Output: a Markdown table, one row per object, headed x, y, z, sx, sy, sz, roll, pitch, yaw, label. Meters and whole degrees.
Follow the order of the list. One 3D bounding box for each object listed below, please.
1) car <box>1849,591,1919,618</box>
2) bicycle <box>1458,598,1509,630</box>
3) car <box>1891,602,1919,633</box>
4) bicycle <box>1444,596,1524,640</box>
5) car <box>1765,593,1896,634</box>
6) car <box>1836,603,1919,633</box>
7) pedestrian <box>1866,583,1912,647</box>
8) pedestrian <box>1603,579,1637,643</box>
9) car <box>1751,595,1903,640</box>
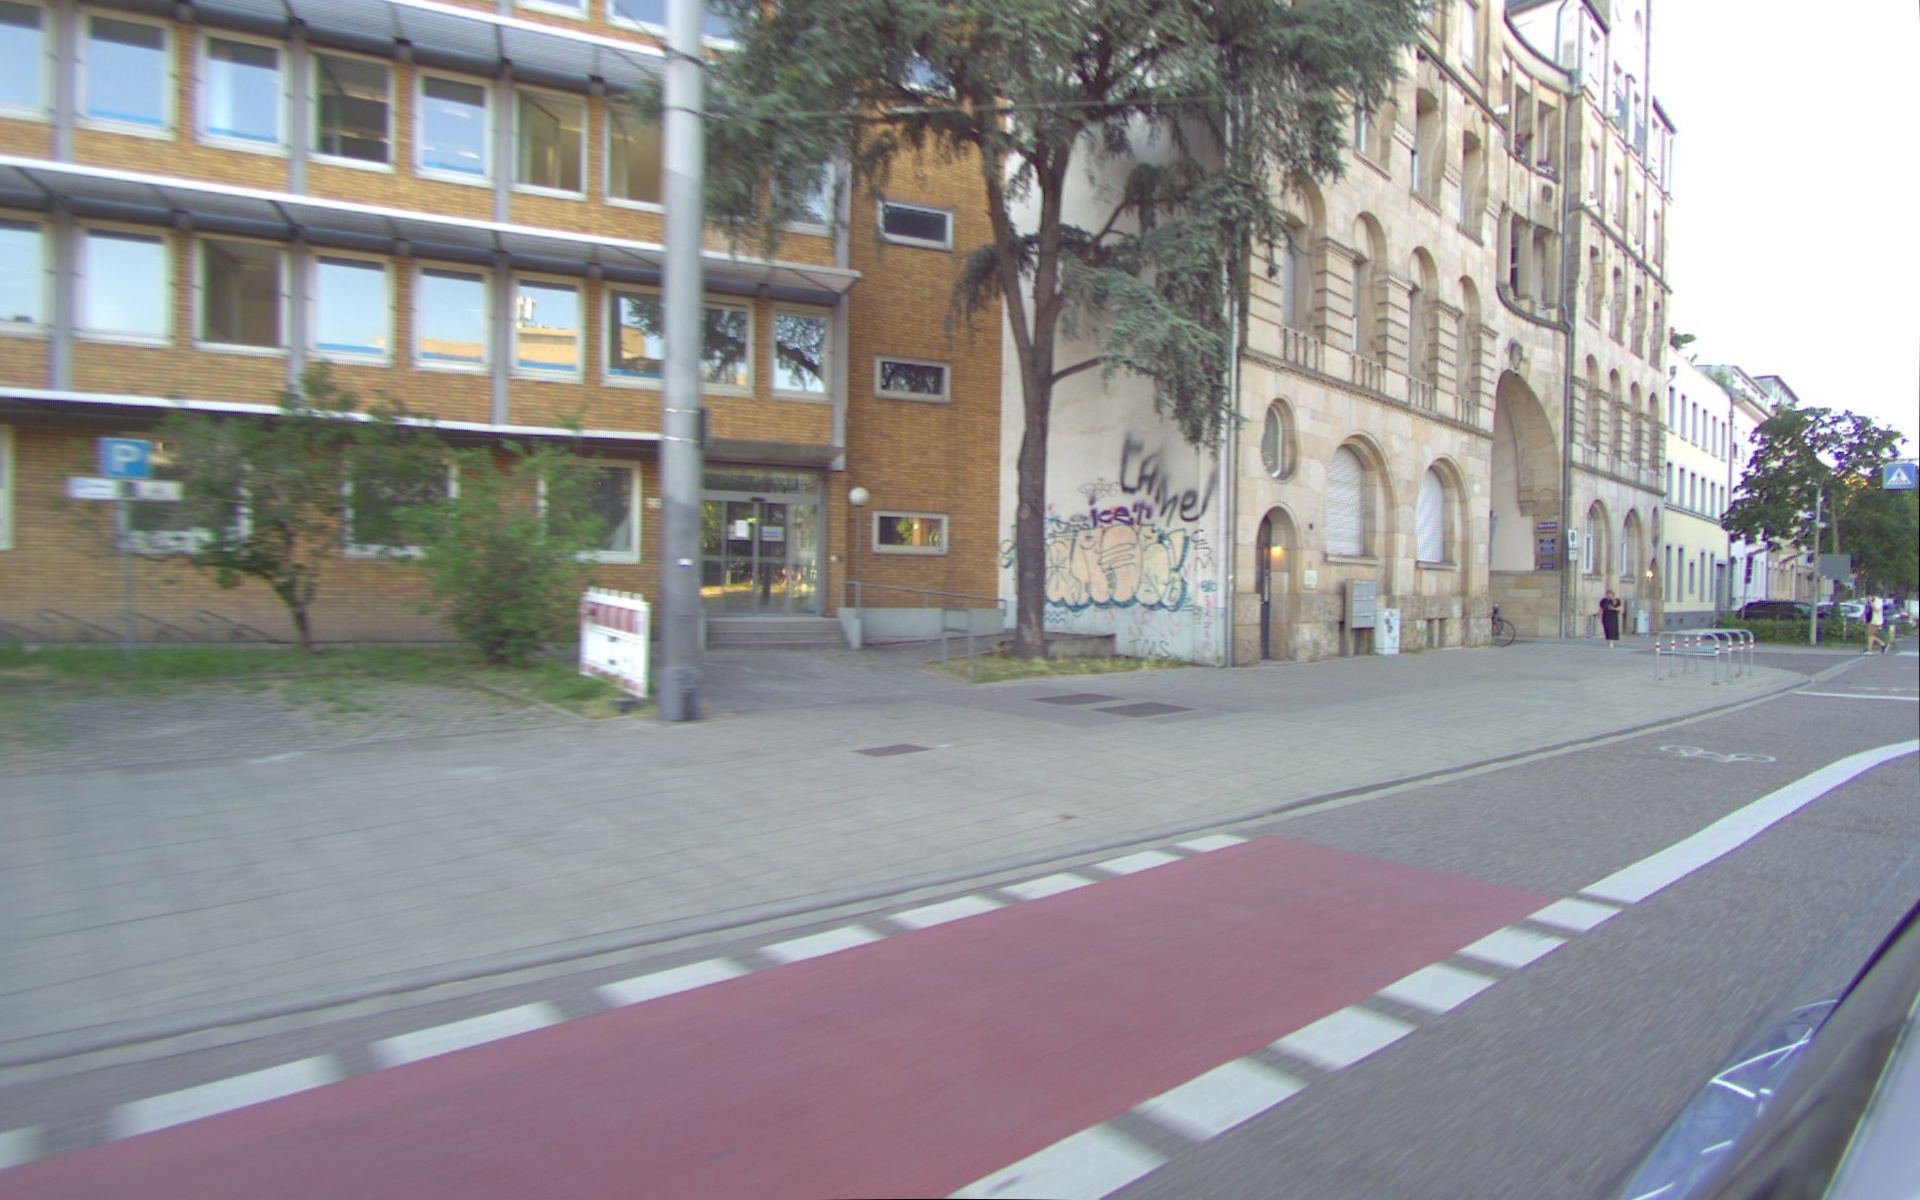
| x | y | z | sx | sy | sz | roll | pitch | yaw | label |
| --- | --- | --- | --- | --- | --- | --- | --- | --- | --- |
| 61.004 | 0.297 | 66.037 | 1.701 | 1.633 | 4.388 | 2 | 1 | -44 | car |
| 17.209 | 0.452 | 33.309 | 0.354 | 0.998 | 1.438 | 2 | 1 | -44 | bicycle |
| 74.177 | 1.361 | 77.551 | 1.967 | 2.323 | 4.059 | 2 | 1 | -44 | car |
| 14.016 | 0.471 | 27.119 | 0.422 | 1.086 | 1.851 | 2 | 1 | -44 | bicycle |
| 37.644 | 0.550 | 43.850 | 1.805 | 1.589 | 4.063 | 2 | 1 | -41 | car |
| 55.282 | 1.076 | 60.419 | 1.959 | 1.571 | 4.074 | 2 | 1 | -28 | car |
| 27.113 | 0.428 | 29.542 | 0.804 | 1.814 | 0.593 | 2 | 0 | -11 | pedestrian |
| 18.323 | 0.297 | 28.109 | 0.709 | 1.730 | 0.577 | 2 | 0 | -40 | pedestrian |
| 34.517 | 0.669 | 40.368 | 1.806 | 1.577 | 4.392 | 2 | 1 | -42 | car |
